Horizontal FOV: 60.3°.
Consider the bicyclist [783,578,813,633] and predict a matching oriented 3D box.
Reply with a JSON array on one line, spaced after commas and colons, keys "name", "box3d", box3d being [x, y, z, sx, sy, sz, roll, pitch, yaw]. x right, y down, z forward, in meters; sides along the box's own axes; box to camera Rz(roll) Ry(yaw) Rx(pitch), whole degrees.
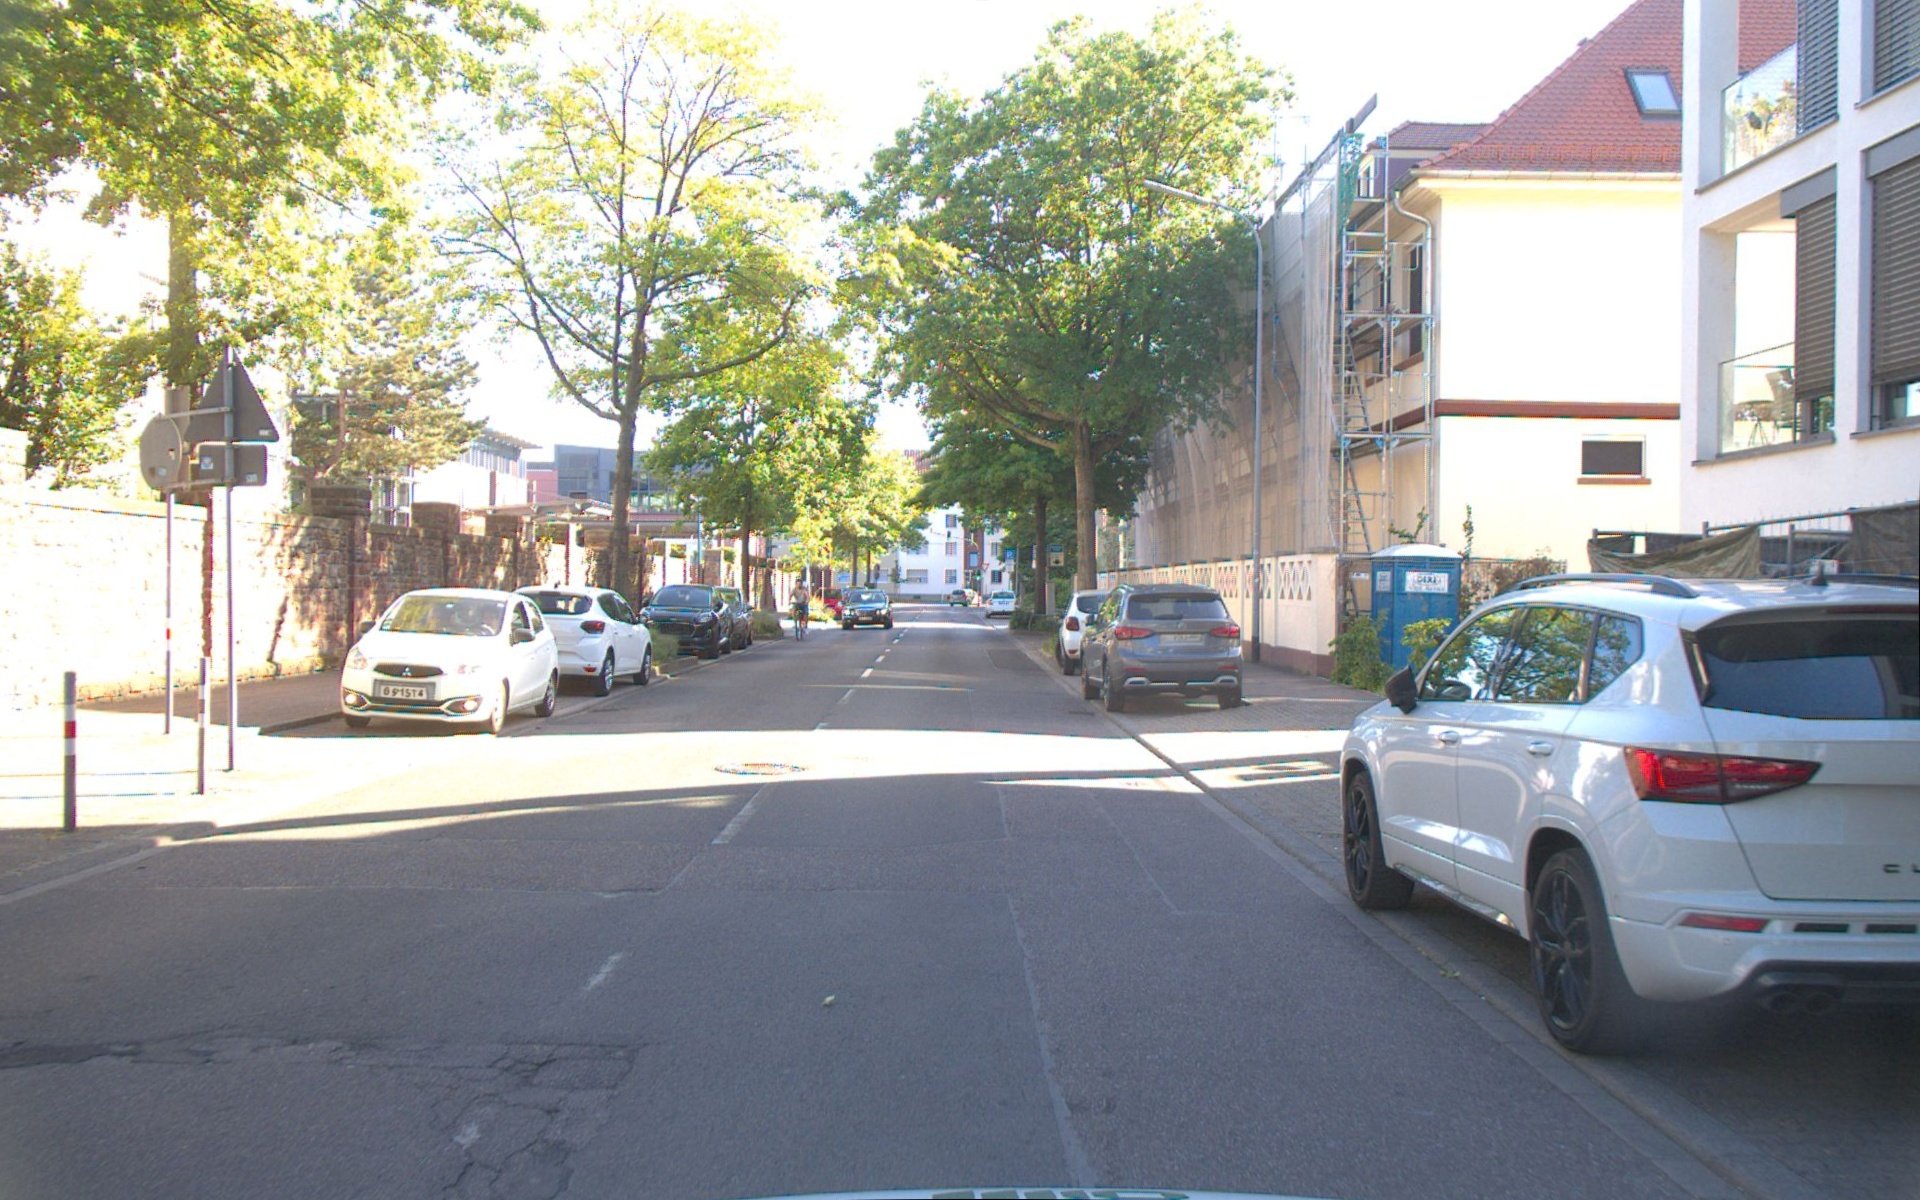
[{"name": "bicyclist", "box3d": [-4.677, 0.155, 47.797, 0.706, 1.549, 1.005, 2, 0, 2]}]

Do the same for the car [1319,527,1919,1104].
[{"name": "car", "box3d": [2.893, 0.610, 6.832, 1.756, 1.644, 4.125, 1, 1, -2]}]

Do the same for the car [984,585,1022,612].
[{"name": "car", "box3d": [2.257, -0.087, 87.965, 1.795, 1.346, 4.495, 0, 0, -1]}]

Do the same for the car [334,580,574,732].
[{"name": "car", "box3d": [-5.524, 0.543, 18.514, 1.542, 1.426, 3.750, 4, 0, -2]}]

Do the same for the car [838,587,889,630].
[{"name": "car", "box3d": [-3.586, 0.306, 61.906, 1.785, 1.461, 3.967, 2, 1, -2]}]

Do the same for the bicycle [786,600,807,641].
[{"name": "bicycle", "box3d": [-4.720, 0.585, 47.822, 0.350, 1.140, 1.866, 2, 0, 1]}]

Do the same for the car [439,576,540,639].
[{"name": "car", "box3d": [-11.675, 0.169, 41.264, 1.654, 1.446, 3.835, 2, 0, -5]}]

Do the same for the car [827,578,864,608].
[{"name": "car", "box3d": [-6.436, -0.407, 93.476, 1.701, 1.620, 4.107, 2, 1, 1]}]

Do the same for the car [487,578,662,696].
[{"name": "car", "box3d": [-5.651, 0.490, 24.675, 1.642, 1.537, 3.849, 3, 1, 0]}]

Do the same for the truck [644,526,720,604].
[{"name": "truck", "box3d": [-14.377, -1.765, 85.943, 2.677, 3.776, 7.427, 2, 0, -1]}]

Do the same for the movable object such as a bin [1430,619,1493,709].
[{"name": "movable object such as a bin", "box3d": [6.054, 0.761, 19.987, 0.585, 1.045, 0.564, 2, 0, 3]}]

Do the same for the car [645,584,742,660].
[{"name": "car", "box3d": [-5.802, 0.439, 36.362, 1.542, 1.541, 4.043, 1, 0, -1]}]

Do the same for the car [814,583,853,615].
[{"name": "car", "box3d": [-6.124, -0.061, 80.343, 1.576, 1.484, 3.708, 2, 0, 0]}]

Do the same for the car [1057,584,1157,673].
[{"name": "car", "box3d": [2.755, 0.498, 31.587, 1.688, 1.536, 3.993, -1, 1, 2]}]

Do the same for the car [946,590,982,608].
[{"name": "car", "box3d": [0.349, -0.089, 143.501, 1.609, 1.468, 3.414, 2, 0, 31]}]

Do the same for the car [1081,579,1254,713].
[{"name": "car", "box3d": [2.751, 0.554, 22.845, 1.678, 1.667, 4.301, 0, 1, -3]}]
